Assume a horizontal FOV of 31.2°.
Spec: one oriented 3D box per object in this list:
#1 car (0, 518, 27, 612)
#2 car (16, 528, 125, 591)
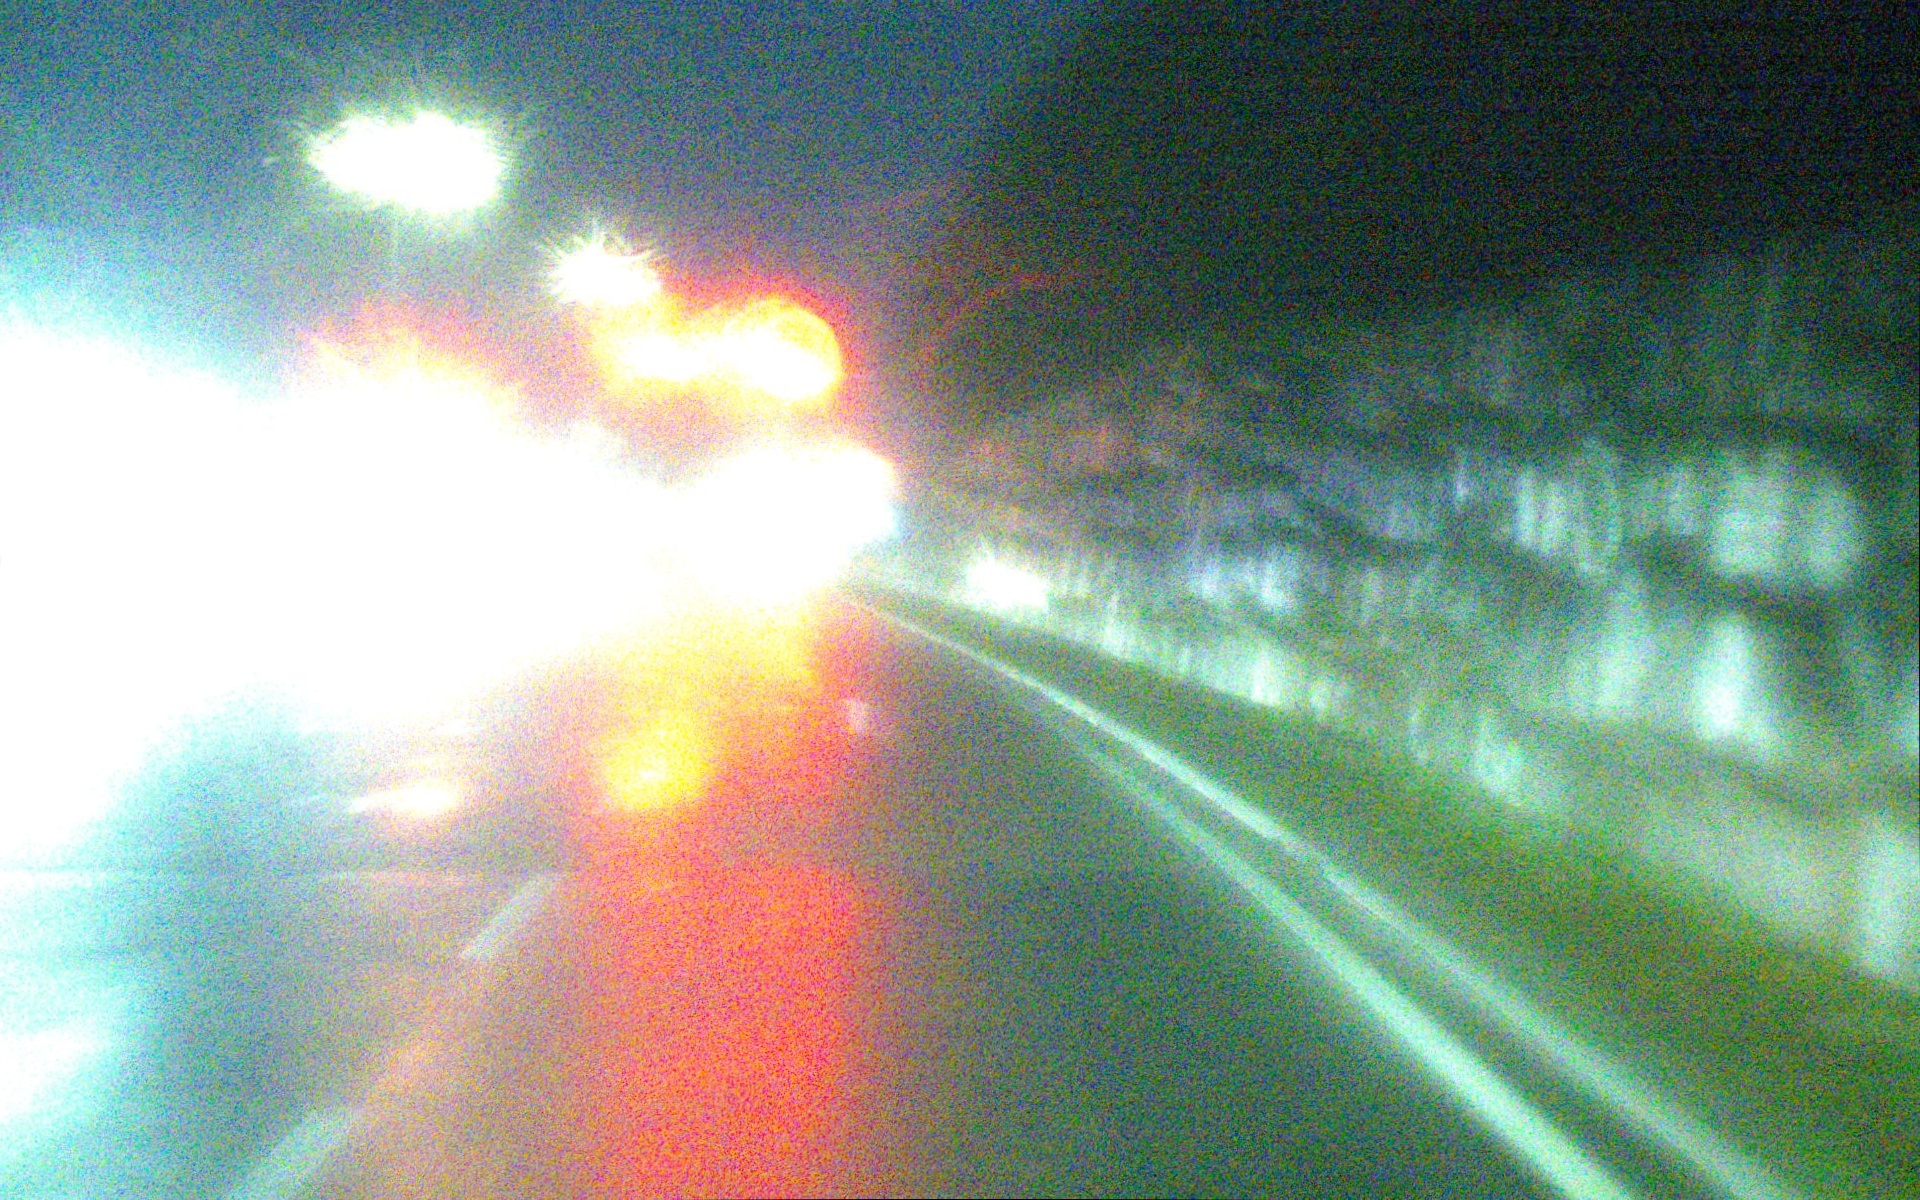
[{"bbox_3d":[-15.952,-0.517,54.183,1.790,1.436,3.857,-2,2,-6],"label":"car"},{"bbox_3d":[-20.065,-0.929,77.719,1.875,1.392,4.251,0,1,-7],"label":"car"}]
